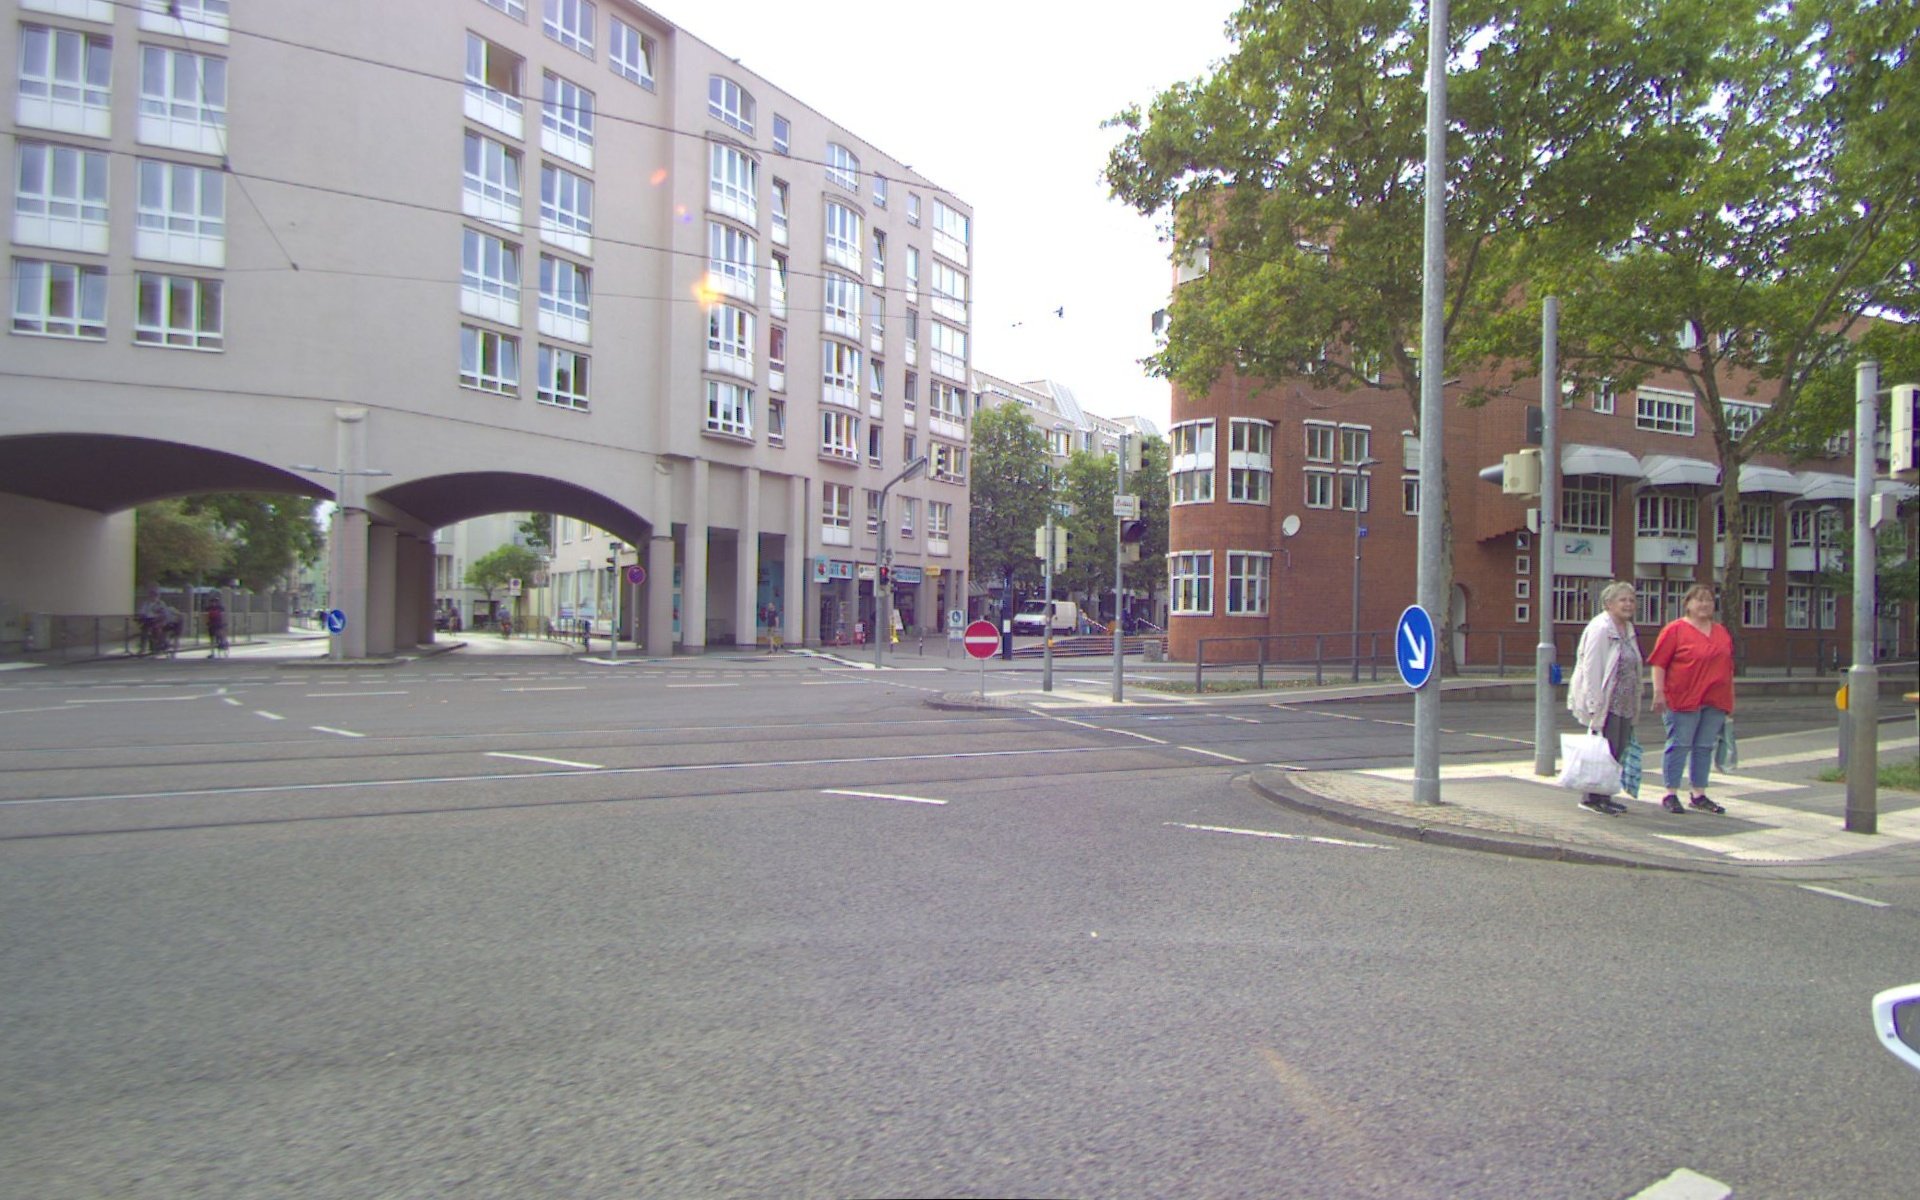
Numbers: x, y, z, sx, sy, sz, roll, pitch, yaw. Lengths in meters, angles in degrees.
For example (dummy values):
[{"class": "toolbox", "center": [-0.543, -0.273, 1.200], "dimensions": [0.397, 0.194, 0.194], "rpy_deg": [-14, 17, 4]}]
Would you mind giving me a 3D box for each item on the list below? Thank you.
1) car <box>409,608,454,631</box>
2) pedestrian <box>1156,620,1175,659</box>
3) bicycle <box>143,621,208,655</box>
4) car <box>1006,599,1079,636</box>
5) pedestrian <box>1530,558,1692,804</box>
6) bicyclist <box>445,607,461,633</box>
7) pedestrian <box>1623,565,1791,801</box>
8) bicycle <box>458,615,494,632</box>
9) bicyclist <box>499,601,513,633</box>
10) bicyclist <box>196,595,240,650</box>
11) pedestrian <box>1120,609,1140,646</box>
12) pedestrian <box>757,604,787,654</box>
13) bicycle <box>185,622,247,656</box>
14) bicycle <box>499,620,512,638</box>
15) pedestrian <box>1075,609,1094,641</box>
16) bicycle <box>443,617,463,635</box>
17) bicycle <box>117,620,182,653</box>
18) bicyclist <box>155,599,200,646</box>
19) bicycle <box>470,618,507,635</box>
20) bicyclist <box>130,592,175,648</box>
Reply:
[{"class": "car", "center": [-37.880, 1.399, 71.951], "dimensions": [1.697, 1.584, 3.947], "rpy_deg": [3, -2, -45]}, {"class": "pedestrian", "center": [9.998, 1.915, 48.773], "dimensions": [0.682, 1.841, 0.654], "rpy_deg": [1, -1, 31]}, {"class": "bicycle", "center": [-22.704, 1.081, 29.108], "dimensions": [0.754, 0.923, 2.178], "rpy_deg": [2, -1, -18]}, {"class": "car", "center": [4.658, 0.995, 56.313], "dimensions": [1.966, 1.962, 4.933], "rpy_deg": [1, -1, 33]}, {"class": "pedestrian", "center": [4.845, 0.586, 7.492], "dimensions": [0.876, 1.741, 0.553], "rpy_deg": [2, -1, -15]}, {"class": "bicyclist", "center": [-30.097, 1.197, 59.614], "dimensions": [0.699, 1.545, 0.937], "rpy_deg": [2, -1, -37]}, {"class": "pedestrian", "center": [5.749, 0.623, 7.755], "dimensions": [0.874, 1.741, 0.554], "rpy_deg": [1, -1, -6]}, {"class": "bicycle", "center": [-32.304, 1.587, 67.041], "dimensions": [2.092, 1.062, 0.657], "rpy_deg": [2, -1, -43]}, {"class": "bicyclist", "center": [-22.939, 0.849, 50.755], "dimensions": [0.574, 1.583, 1.028], "rpy_deg": [2, -1, -23]}, {"class": "bicyclist", "center": [-21.538, 0.643, 29.178], "dimensions": [0.756, 1.559, 0.879], "rpy_deg": [2, -1, -18]}, {"class": "pedestrian", "center": [9.360, 1.511, 55.210], "dimensions": [0.779, 1.990, 0.803], "rpy_deg": [1, -1, 34]}, {"class": "pedestrian", "center": [-6.575, 1.018, 35.139], "dimensions": [0.663, 1.702, 0.751], "rpy_deg": [1, -1, 31]}, {"class": "bicycle", "center": [-21.534, 1.113, 29.124], "dimensions": [0.754, 0.923, 2.178], "rpy_deg": [2, -1, -18]}, {"class": "bicycle", "center": [-22.970, 1.446, 50.767], "dimensions": [0.571, 0.847, 1.976], "rpy_deg": [1, -1, -23]}, {"class": "pedestrian", "center": [6.741, 1.358, 54.465], "dimensions": [0.682, 1.693, 0.830], "rpy_deg": [1, -1, 31]}, {"class": "bicycle", "center": [-30.106, 1.544, 59.619], "dimensions": [0.707, 1.062, 2.084], "rpy_deg": [2, -1, -37]}, {"class": "bicycle", "center": [-24.218, 1.071, 30.059], "dimensions": [0.754, 0.923, 2.178], "rpy_deg": [2, -1, -18]}, {"class": "bicyclist", "center": [-22.713, 0.652, 29.168], "dimensions": [0.756, 1.321, 0.879], "rpy_deg": [2, -1, -18]}, {"class": "bicycle", "center": [-31.019, 1.726, 66.147], "dimensions": [2.090, 1.062, 0.628], "rpy_deg": [2, -1, -42]}, {"class": "bicyclist", "center": [-24.222, 0.590, 30.146], "dimensions": [0.756, 1.636, 0.879], "rpy_deg": [2, -1, -18]}]
